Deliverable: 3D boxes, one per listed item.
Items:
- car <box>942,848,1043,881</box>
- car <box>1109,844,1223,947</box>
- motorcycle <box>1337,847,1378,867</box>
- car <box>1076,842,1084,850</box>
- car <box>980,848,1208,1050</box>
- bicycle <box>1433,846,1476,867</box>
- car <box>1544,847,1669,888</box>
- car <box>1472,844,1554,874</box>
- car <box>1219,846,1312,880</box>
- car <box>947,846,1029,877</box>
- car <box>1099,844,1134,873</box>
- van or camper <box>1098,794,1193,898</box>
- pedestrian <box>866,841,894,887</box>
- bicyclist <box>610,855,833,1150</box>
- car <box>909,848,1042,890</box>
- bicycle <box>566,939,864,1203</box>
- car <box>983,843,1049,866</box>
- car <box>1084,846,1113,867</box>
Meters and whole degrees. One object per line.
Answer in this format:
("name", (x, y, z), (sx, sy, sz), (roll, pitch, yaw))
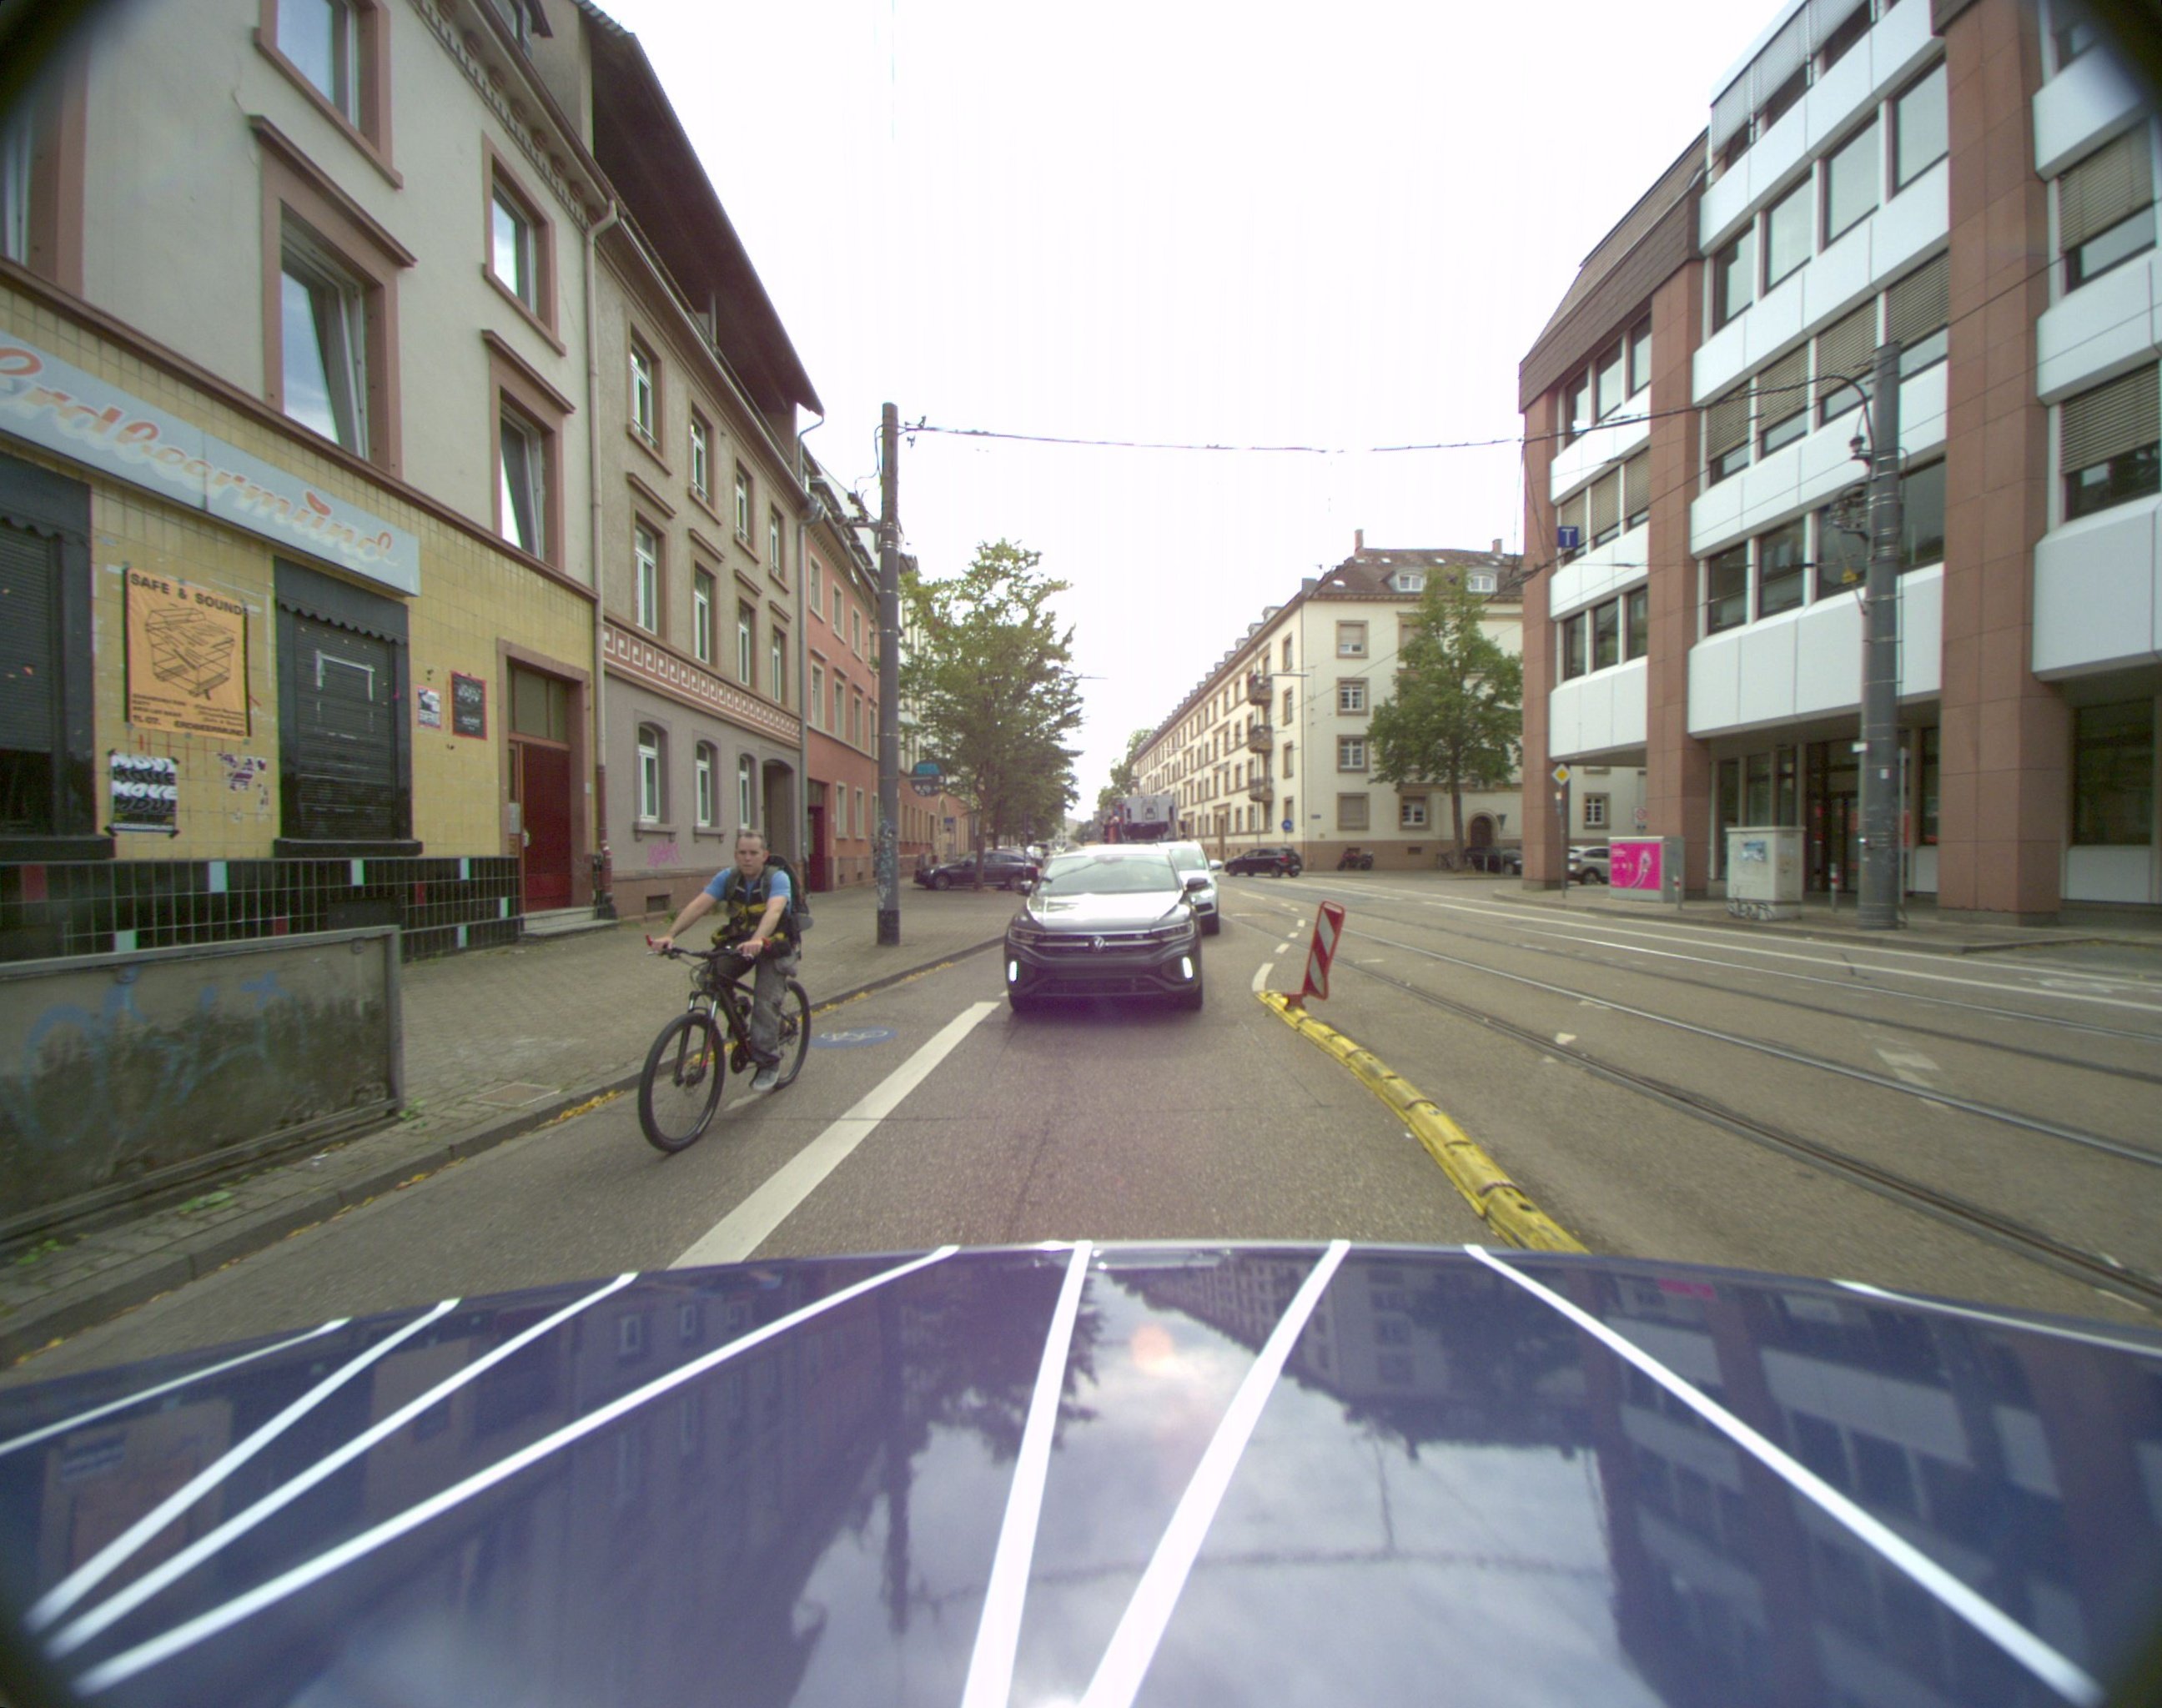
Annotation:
("car", (-4.160, 0.508, 35.760), (4.351, 1.471, 1.785), (1, 1, -25))
("car", (1.706, 0.652, 14.263), (1.772, 1.582, 4.284), (-2, 1, 10))
("motorcycle", (15.021, 0.161, 41.343), (1.924, 1.080, 0.793), (0, 1, -1))
("car", (-0.269, -1.904, 171.731), (1.899, 1.806, 3.999), (0, 1, 0))
("car", (0.306, 0.758, 8.197), (1.772, 1.539, 4.283), (-2, 1, 6))
("bicycle", (20.442, 0.131, 41.602), (1.924, 1.080, 0.793), (0, 1, -1))
("car", (19.021, 0.456, 27.567), (3.650, 1.380, 1.610), (-1, 1, -10))
("car", (20.923, 0.214, 36.953), (1.611, 1.388, 3.873), (0, 1, -3))
("car", (8.959, 0.439, 37.138), (4.037, 1.528, 1.778), (-1, 1, 43))
("car", (-5.235, 0.403, 42.827), (4.245, 1.688, 1.736), (1, 1, -25))
("car", (2.175, 0.234, 47.568), (1.998, 1.698, 4.052), (0, 1, 0))
("van or camper", (2.237, -0.323, 29.782), (2.608, 3.401, 9.649), (-1, 1, -2))
("pedestrian", (-7.556, 0.359, 28.621), (0.732, 1.678, 0.926), (3, 1, -2))
("bicyclist", (-2.009, 0.778, 4.382), (0.715, 1.498, 0.919), (-2, 1, 5))
("car", (-3.963, 0.560, 28.631), (4.635, 1.464, 1.785), (1, 1, -25))
("bicycle", (-1.987, 1.127, 4.481), (0.714, 1.012, 1.800), (-2, 1, 5))
("car", (-4.983, 0.052, 58.392), (4.635, 1.688, 1.912), (1, 1, -25))
("car", (1.298, 0.172, 56.753), (1.911, 1.478, 3.998), (0, 1, -2))
